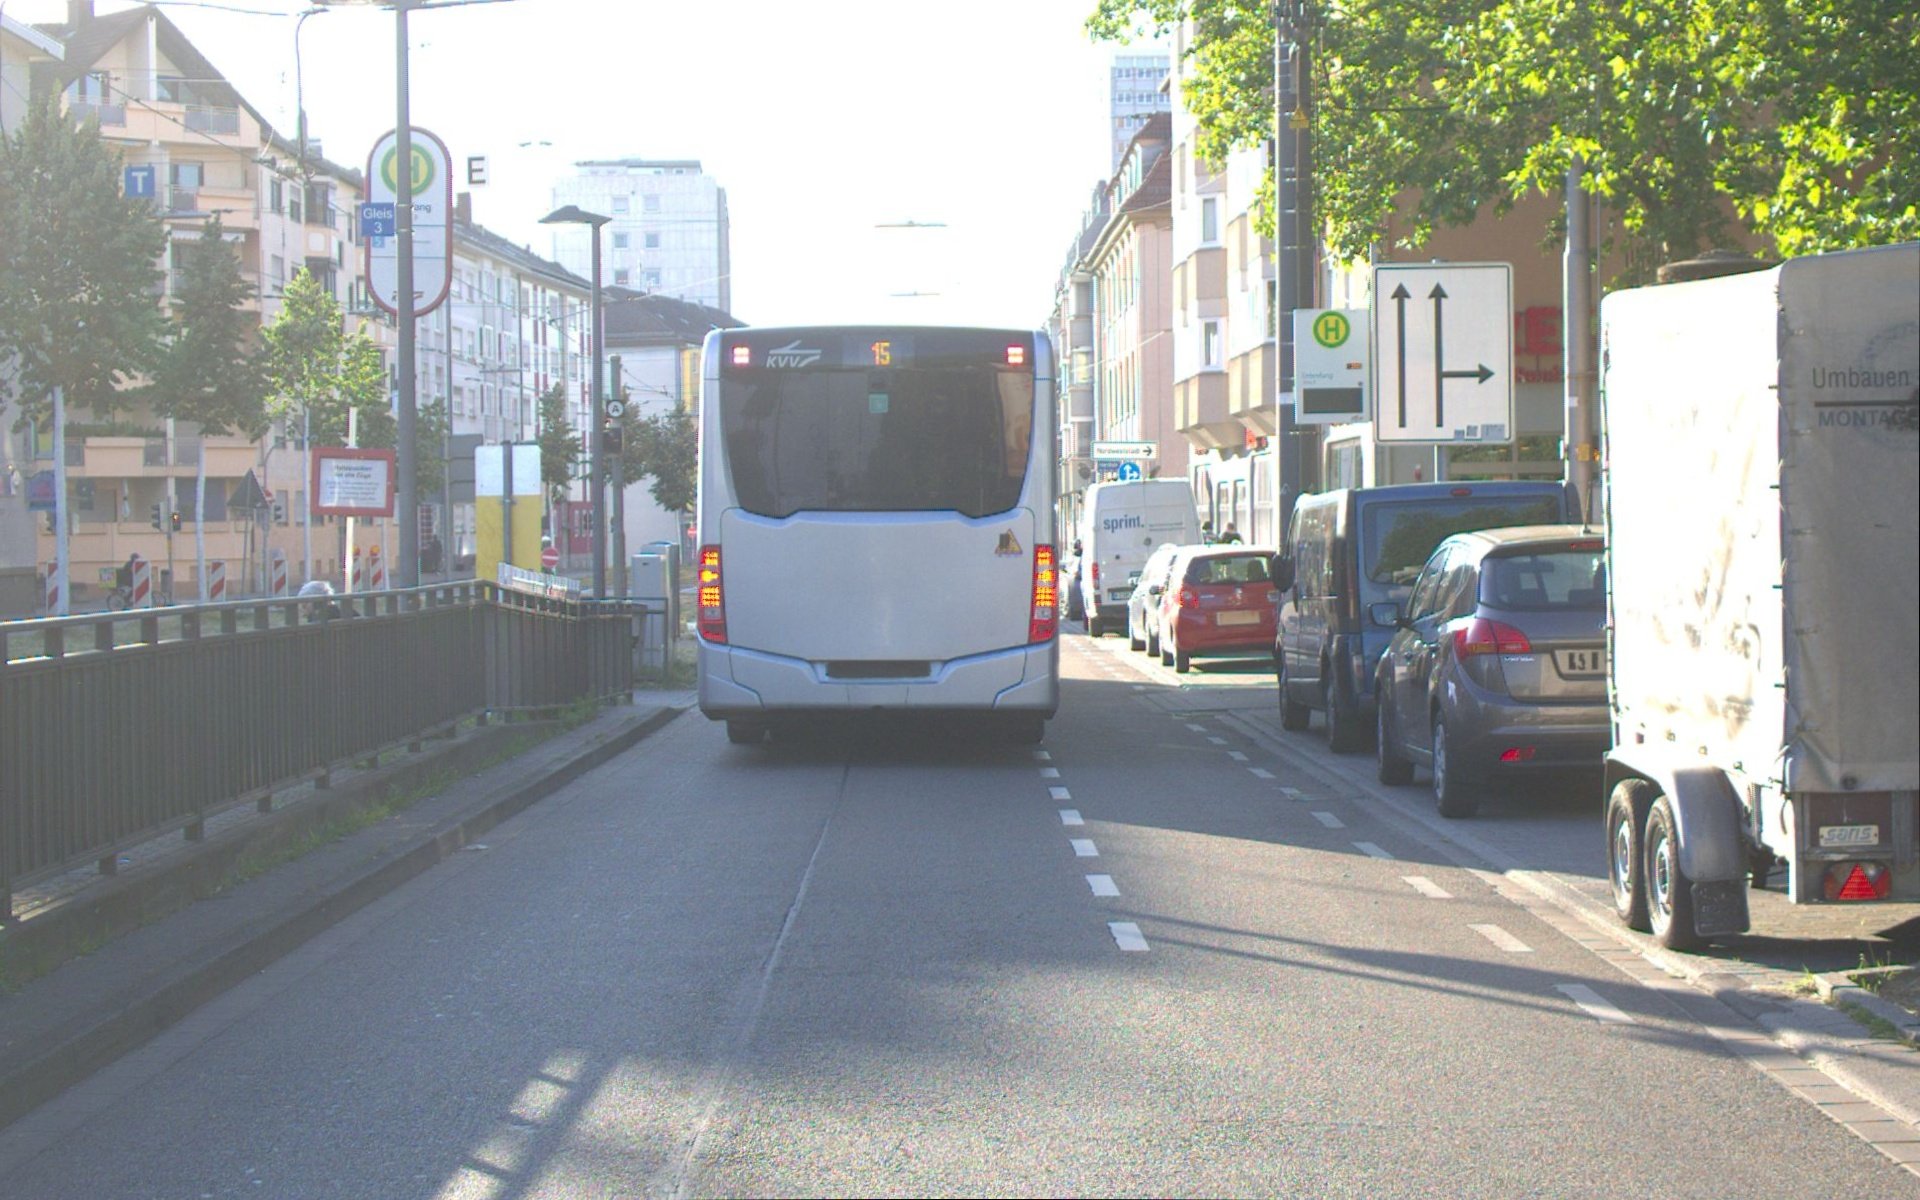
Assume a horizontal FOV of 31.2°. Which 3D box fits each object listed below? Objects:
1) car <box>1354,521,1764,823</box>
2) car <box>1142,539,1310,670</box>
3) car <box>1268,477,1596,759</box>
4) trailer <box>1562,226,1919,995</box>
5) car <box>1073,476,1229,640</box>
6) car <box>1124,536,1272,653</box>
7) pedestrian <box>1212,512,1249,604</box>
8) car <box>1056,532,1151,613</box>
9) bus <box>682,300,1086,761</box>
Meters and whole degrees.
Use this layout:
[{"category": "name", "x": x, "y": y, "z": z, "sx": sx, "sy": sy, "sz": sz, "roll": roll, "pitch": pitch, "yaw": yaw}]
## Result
[{"category": "car", "x": 3.416, "y": 0.362, "z": 20.266, "sx": 1.700, "sy": 1.583, "sz": 3.827, "roll": -1, "pitch": 1, "yaw": 0}, {"category": "car", "x": 3.228, "y": 0.028, "z": 42.304, "sx": 1.671, "sy": 1.458, "sz": 3.933, "roll": -3, "pitch": 1, "yaw": 0}, {"category": "car", "x": 3.527, "y": 0.100, "z": 26.495, "sx": 1.847, "sy": 1.950, "sz": 4.544, "roll": -1, "pitch": 1, "yaw": 0}, {"category": "trailer", "x": 3.539, "y": -0.004, "z": 13.111, "sx": 1.832, "sy": 2.549, "sz": 3.319, "roll": -1, "pitch": 1, "yaw": 0}, {"category": "car", "x": 3.195, "y": -0.708, "z": 58.453, "sx": 2.282, "sy": 2.618, "sz": 5.309, "roll": -1, "pitch": 1, "yaw": 0}, {"category": "car", "x": 3.227, "y": -0.101, "z": 47.220, "sx": 1.671, "sy": 1.458, "sz": 3.933, "roll": -3, "pitch": 1, "yaw": 0}, {"category": "pedestrian", "x": 5.761, "y": -0.888, "z": 73.295, "sx": 0.685, "sy": 1.940, "sz": 1.116, "roll": 0, "pitch": -1, "yaw": 0}, {"category": "car", "x": 2.891, "y": -0.577, "z": 69.660, "sx": 1.729, "sy": 1.569, "sz": 3.675, "roll": -1, "pitch": 1, "yaw": 0}, {"category": "bus", "x": -0.630, "y": -0.555, "z": 28.795, "sx": 2.733, "sy": 3.128, "sz": 10.704, "roll": 0, "pitch": 1, "yaw": -1}]
